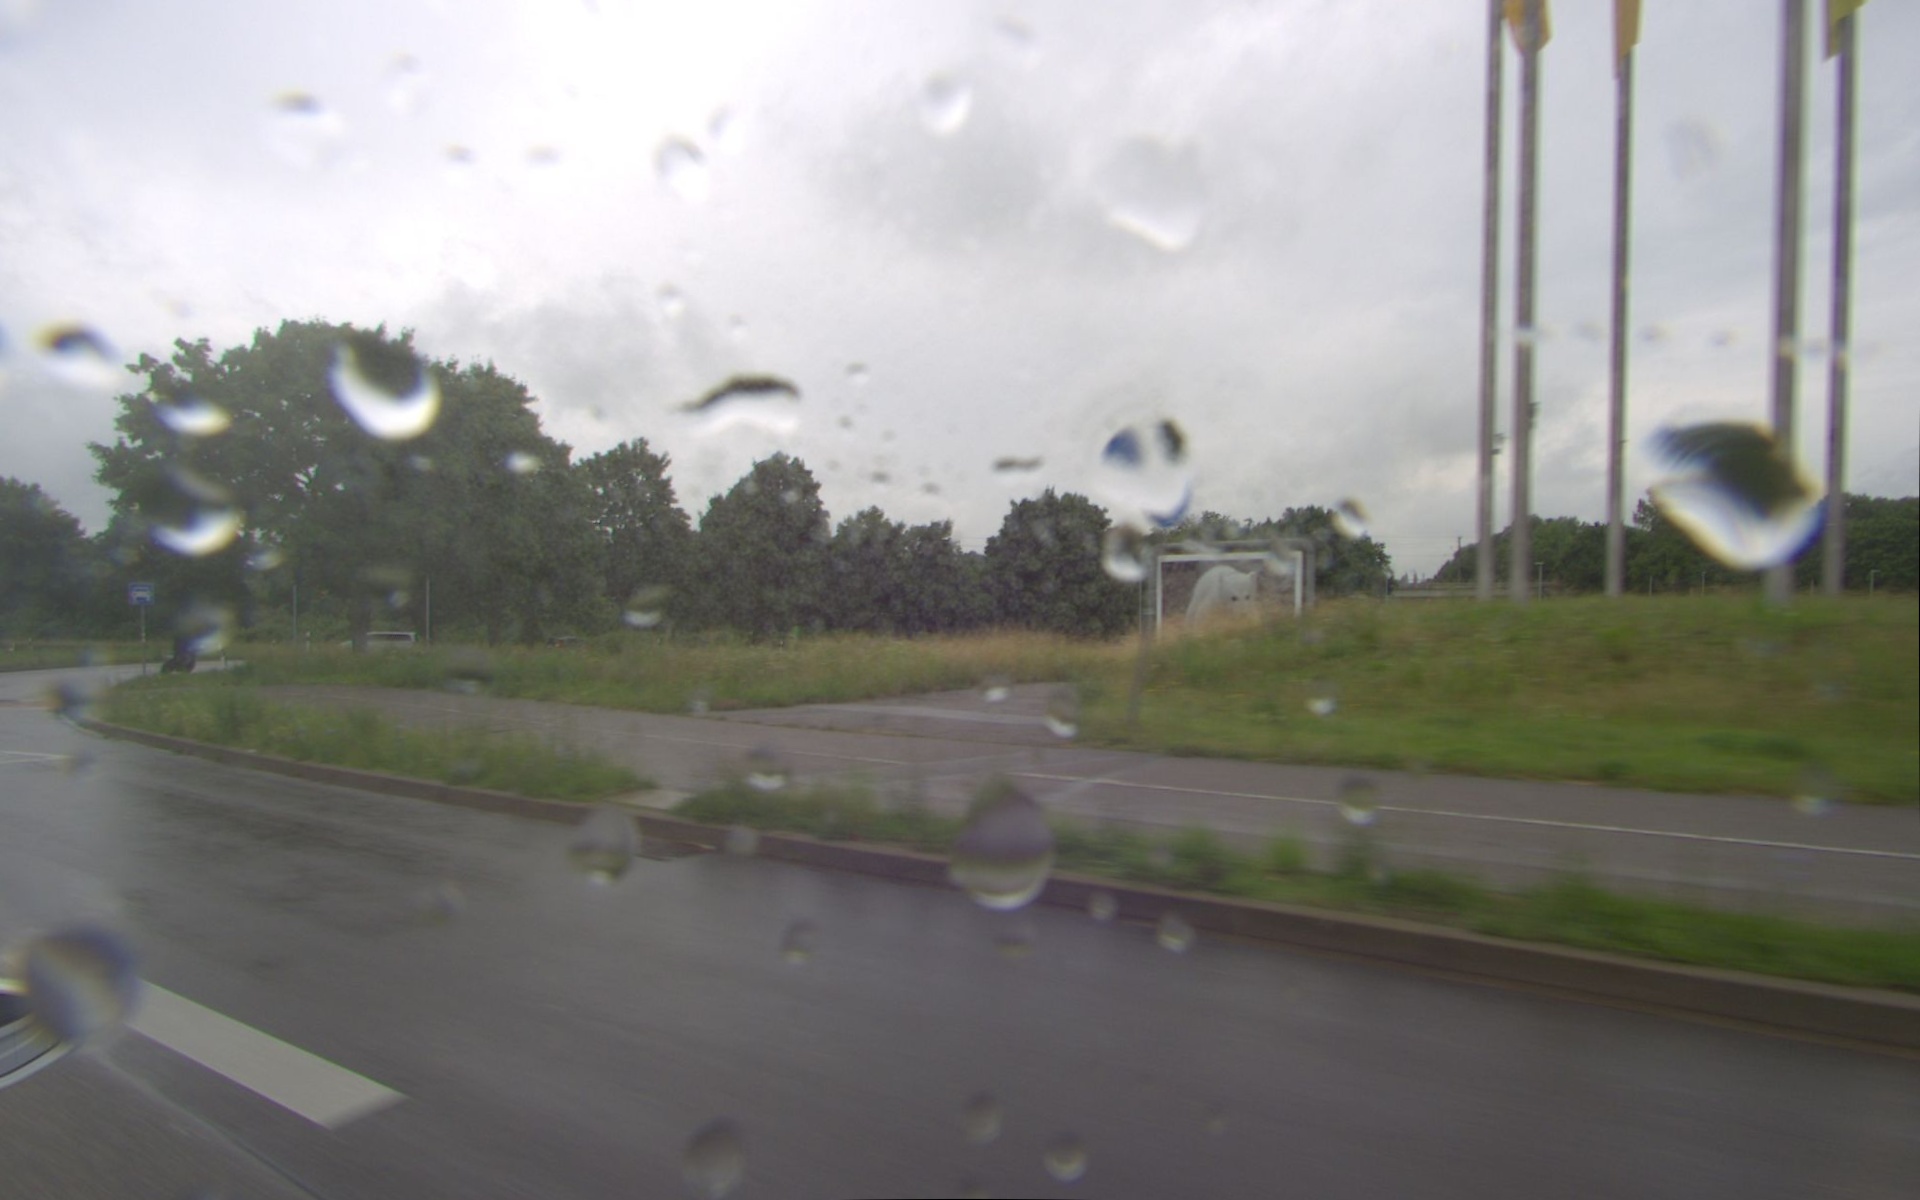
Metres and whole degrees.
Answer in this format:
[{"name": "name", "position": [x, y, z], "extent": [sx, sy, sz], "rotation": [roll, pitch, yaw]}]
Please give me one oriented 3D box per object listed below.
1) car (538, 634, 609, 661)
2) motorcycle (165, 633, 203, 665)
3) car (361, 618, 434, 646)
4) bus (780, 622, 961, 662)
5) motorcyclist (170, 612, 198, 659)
[{"name": "car", "position": [-24.988, 3.069, 64.857], "extent": [1.834, 1.639, 3.979], "rotation": [0, -1, 33]}, {"name": "motorcycle", "position": [-28.380, 1.786, 36.638], "extent": [0.593, 1.107, 1.727], "rotation": [1, -1, -21]}, {"name": "car", "position": [-41.266, 2.353, 73.564], "extent": [4.537, 2.000, 2.058], "rotation": [1, -1, -26]}, {"name": "bus", "position": [-6.894, 3.225, 79.374], "extent": [14.368, 2.715, 2.751], "rotation": [0, 0, -27]}, {"name": "motorcyclist", "position": [-28.366, 1.296, 36.616], "extent": [0.593, 1.712, 0.858], "rotation": [1, 0, -21]}]
